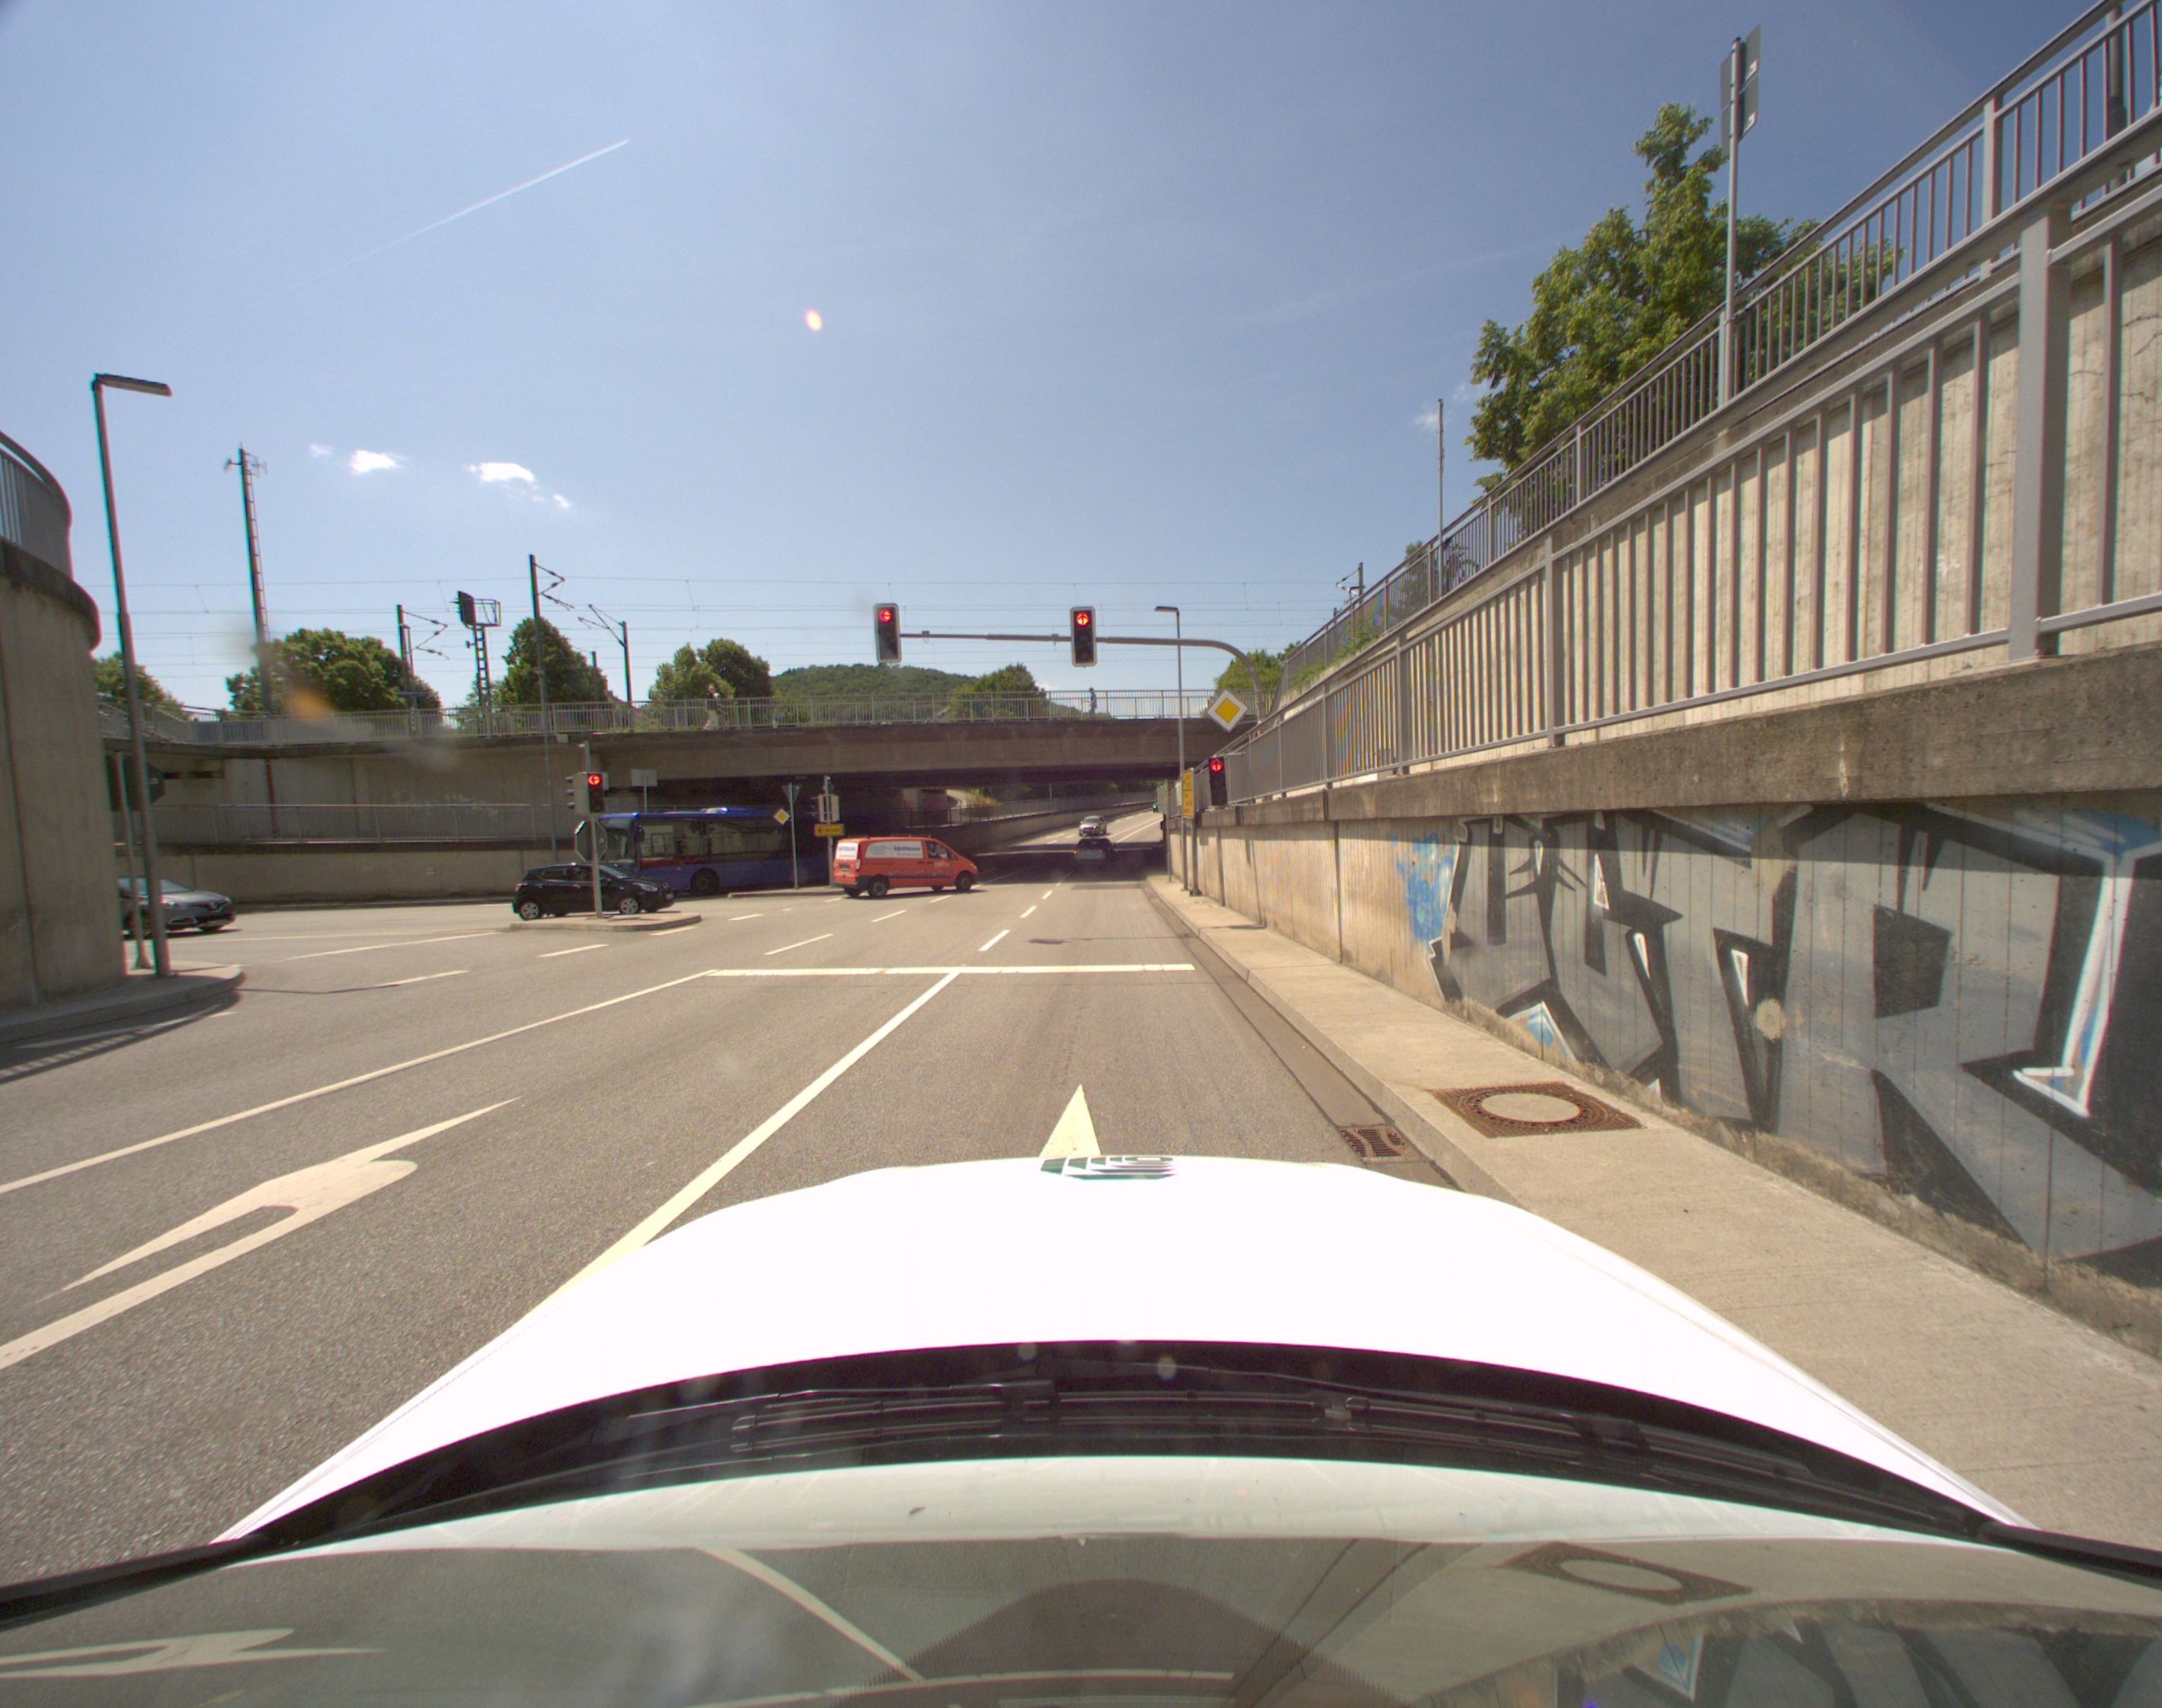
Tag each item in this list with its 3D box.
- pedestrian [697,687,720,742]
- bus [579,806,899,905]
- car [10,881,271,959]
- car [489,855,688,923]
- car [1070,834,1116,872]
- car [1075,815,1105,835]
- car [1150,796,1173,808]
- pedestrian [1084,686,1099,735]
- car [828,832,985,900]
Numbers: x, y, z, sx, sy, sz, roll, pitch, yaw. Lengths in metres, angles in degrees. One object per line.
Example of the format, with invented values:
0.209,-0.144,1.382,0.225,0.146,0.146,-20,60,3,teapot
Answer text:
-14.605,-5.459,31.939,0.576,2.081,0.533,-3,0,-9,pedestrian
-12.620,-0.247,32.286,2.556,3.172,12.457,0,3,31,bus
-23.841,1.626,20.812,3.981,1.588,1.997,-2,2,-6,car
-12.995,0.886,21.724,3.980,1.507,1.997,-2,2,-5,car
0.637,-0.086,39.765,1.795,1.617,4.009,-1,2,7,car
0.839,-2.604,71.960,1.981,1.627,4.013,-1,3,10,car
10.234,-6.589,103.846,1.766,1.436,4.023,0,3,23,car
0.465,-6.365,36.169,0.538,2.081,0.534,-3,0,-5,pedestrian
-5.726,0.319,27.098,4.744,1.932,1.857,-4,3,-40,car
